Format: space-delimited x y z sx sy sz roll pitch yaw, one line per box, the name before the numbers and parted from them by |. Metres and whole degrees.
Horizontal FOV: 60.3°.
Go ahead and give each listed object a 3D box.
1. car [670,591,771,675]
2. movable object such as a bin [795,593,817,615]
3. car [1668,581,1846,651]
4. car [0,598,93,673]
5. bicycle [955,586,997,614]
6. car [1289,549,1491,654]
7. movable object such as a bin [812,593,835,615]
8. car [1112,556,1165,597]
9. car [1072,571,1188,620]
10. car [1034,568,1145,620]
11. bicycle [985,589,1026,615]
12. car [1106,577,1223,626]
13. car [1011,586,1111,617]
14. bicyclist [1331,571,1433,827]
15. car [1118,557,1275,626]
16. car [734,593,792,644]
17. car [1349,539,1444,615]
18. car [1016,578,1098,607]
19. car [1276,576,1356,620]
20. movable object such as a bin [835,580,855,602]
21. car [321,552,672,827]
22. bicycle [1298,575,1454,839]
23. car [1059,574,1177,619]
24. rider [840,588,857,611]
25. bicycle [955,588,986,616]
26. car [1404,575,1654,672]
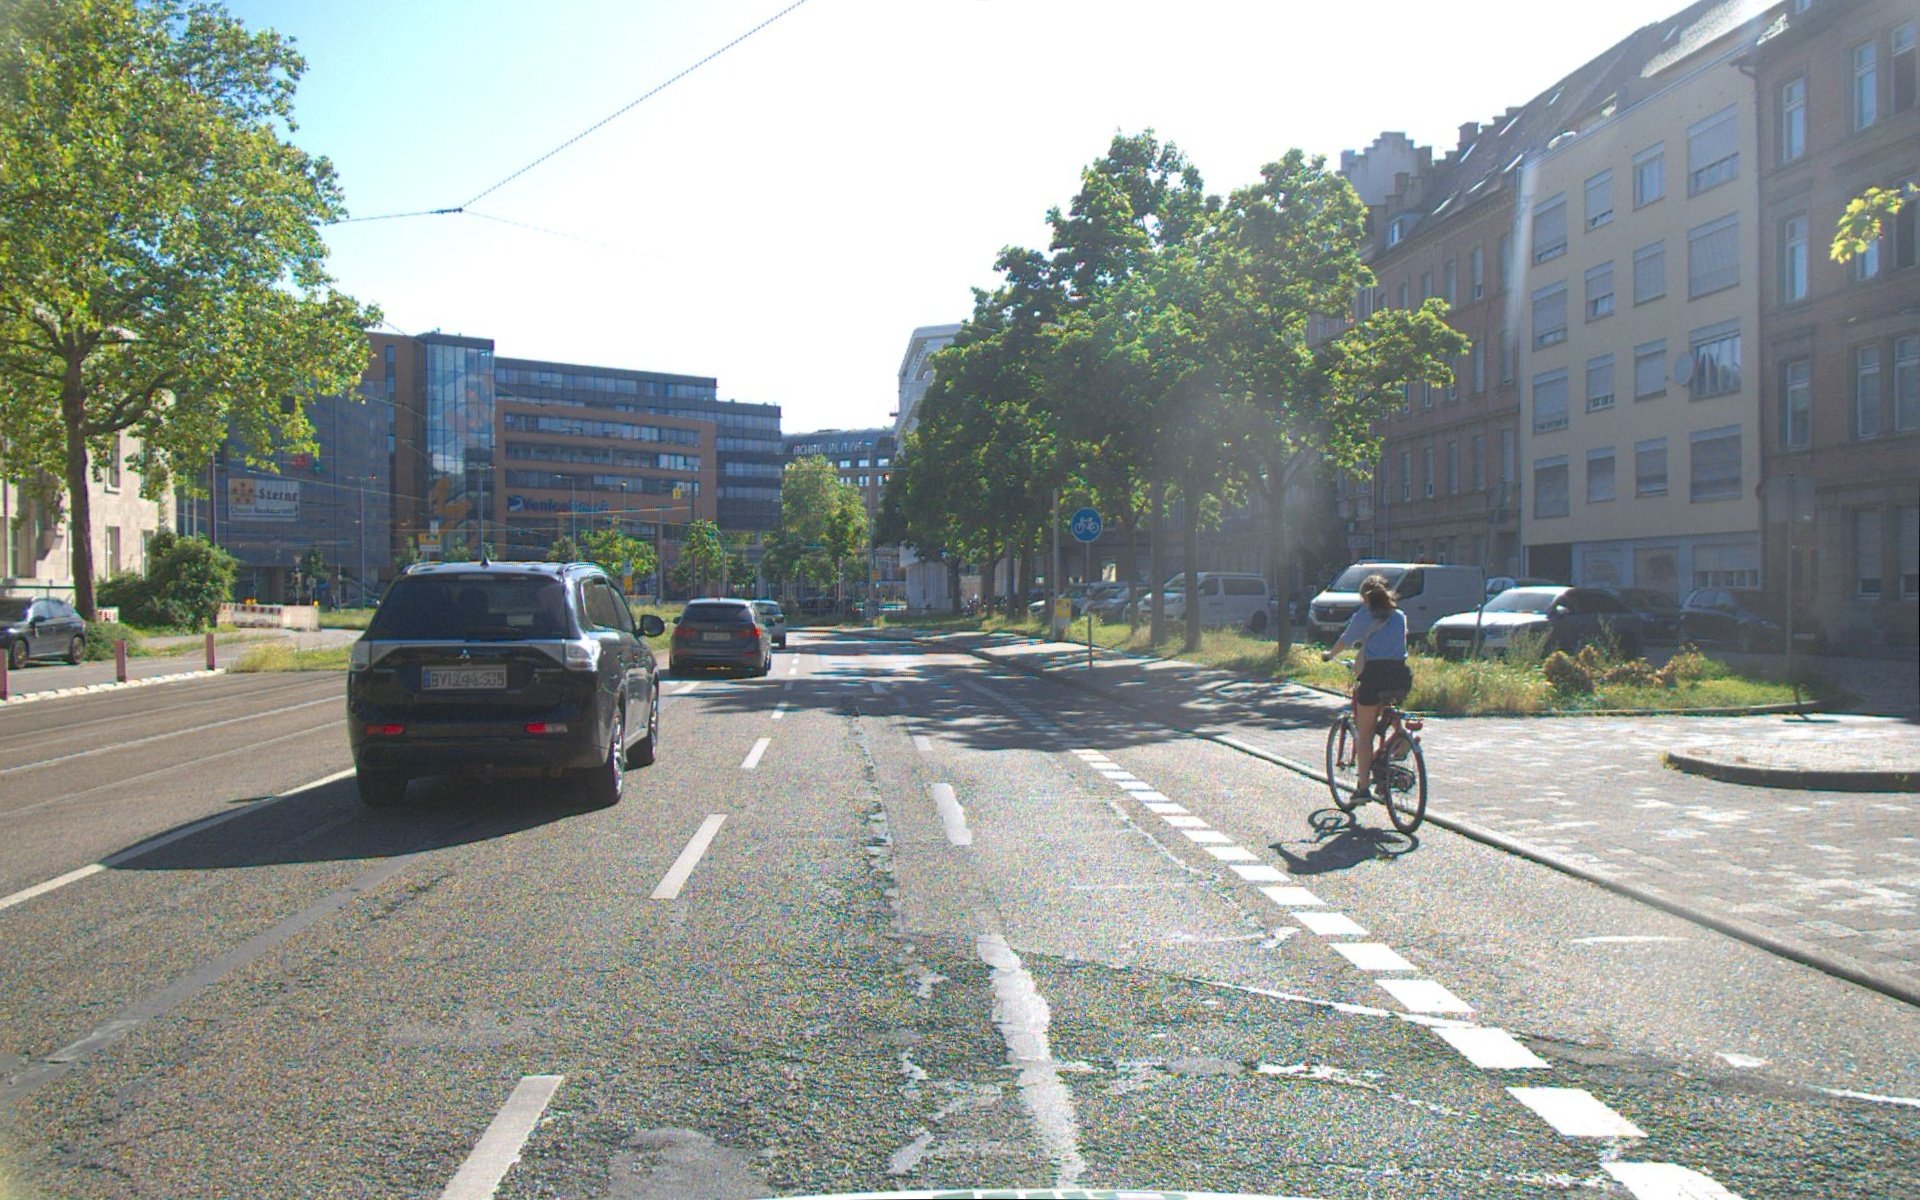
car | -4.487 0.645 31.497 1.701 1.448 4.461 2 -2 -6
movable object such as a bin | -10.000 0.259 107.234 1.045 1.423 1.305 -1 0 14
car | 18.167 0.321 37.917 1.694 1.445 4.289 -1 1 -5
car | -20.821 0.745 36.122 1.794 1.518 4.178 -1 1 -4
bicycle | 0.817 -0.001 84.571 2.056 1.388 0.785 -1 0 -11
car | 9.754 -0.003 37.304 4.836 2.111 1.991 -3 1 -41
movable object such as a bin | -8.849 0.237 107.326 1.083 1.423 1.322 -1 0 14
car | 11.144 -1.471 103.637 2.303 2.398 5.183 -2 1 -5
car | 6.927 -0.189 67.182 4.462 1.757 1.975 -3 0 -35
car | 5.763 -0.285 73.301 4.835 2.048 2.071 -3 0 -40
bicycle | 2.270 0.088 83.093 1.920 1.212 0.840 -2 0 -6
car | 7.192 0.039 57.895 3.992 1.504 1.787 -3 0 -40
car | 4.861 0.053 79.289 4.707 1.404 2.017 -1 0 -40
bicyclist | 2.857 0.644 11.242 0.429 1.667 0.778 -1 0 -5
car | 7.908 -0.297 55.037 5.128 2.048 2.075 -3 0 -35
car | -5.982 0.584 50.004 1.602 1.448 3.774 2 -2 -8
car | 15.997 -0.856 60.838 1.954 2.630 4.509 -2 1 -4
car | 5.474 -0.413 92.993 4.423 1.593 1.912 -1 0 -37
car | 14.479 -0.086 67.542 1.954 1.721 4.509 -1 0 -5
movable object such as a bin | -7.467 -0.599 107.321 1.007 1.423 1.091 -1 0 14
car | -3.305 0.574 12.717 1.800 1.711 4.637 0 0 -6
bicycle | 2.842 0.669 11.478 0.429 1.667 1.937 -1 1 -5
car | 6.793 -0.168 70.988 4.825 1.676 2.075 -3 0 -35
rider | -5.947 -0.022 88.181 0.491 1.196 1.678 -1 1 12
bicycle | 0.517 0.108 82.374 0.754 1.312 1.593 -1 1 34
car | 10.320 0.372 29.830 4.832 1.460 1.993 -3 1 -39
